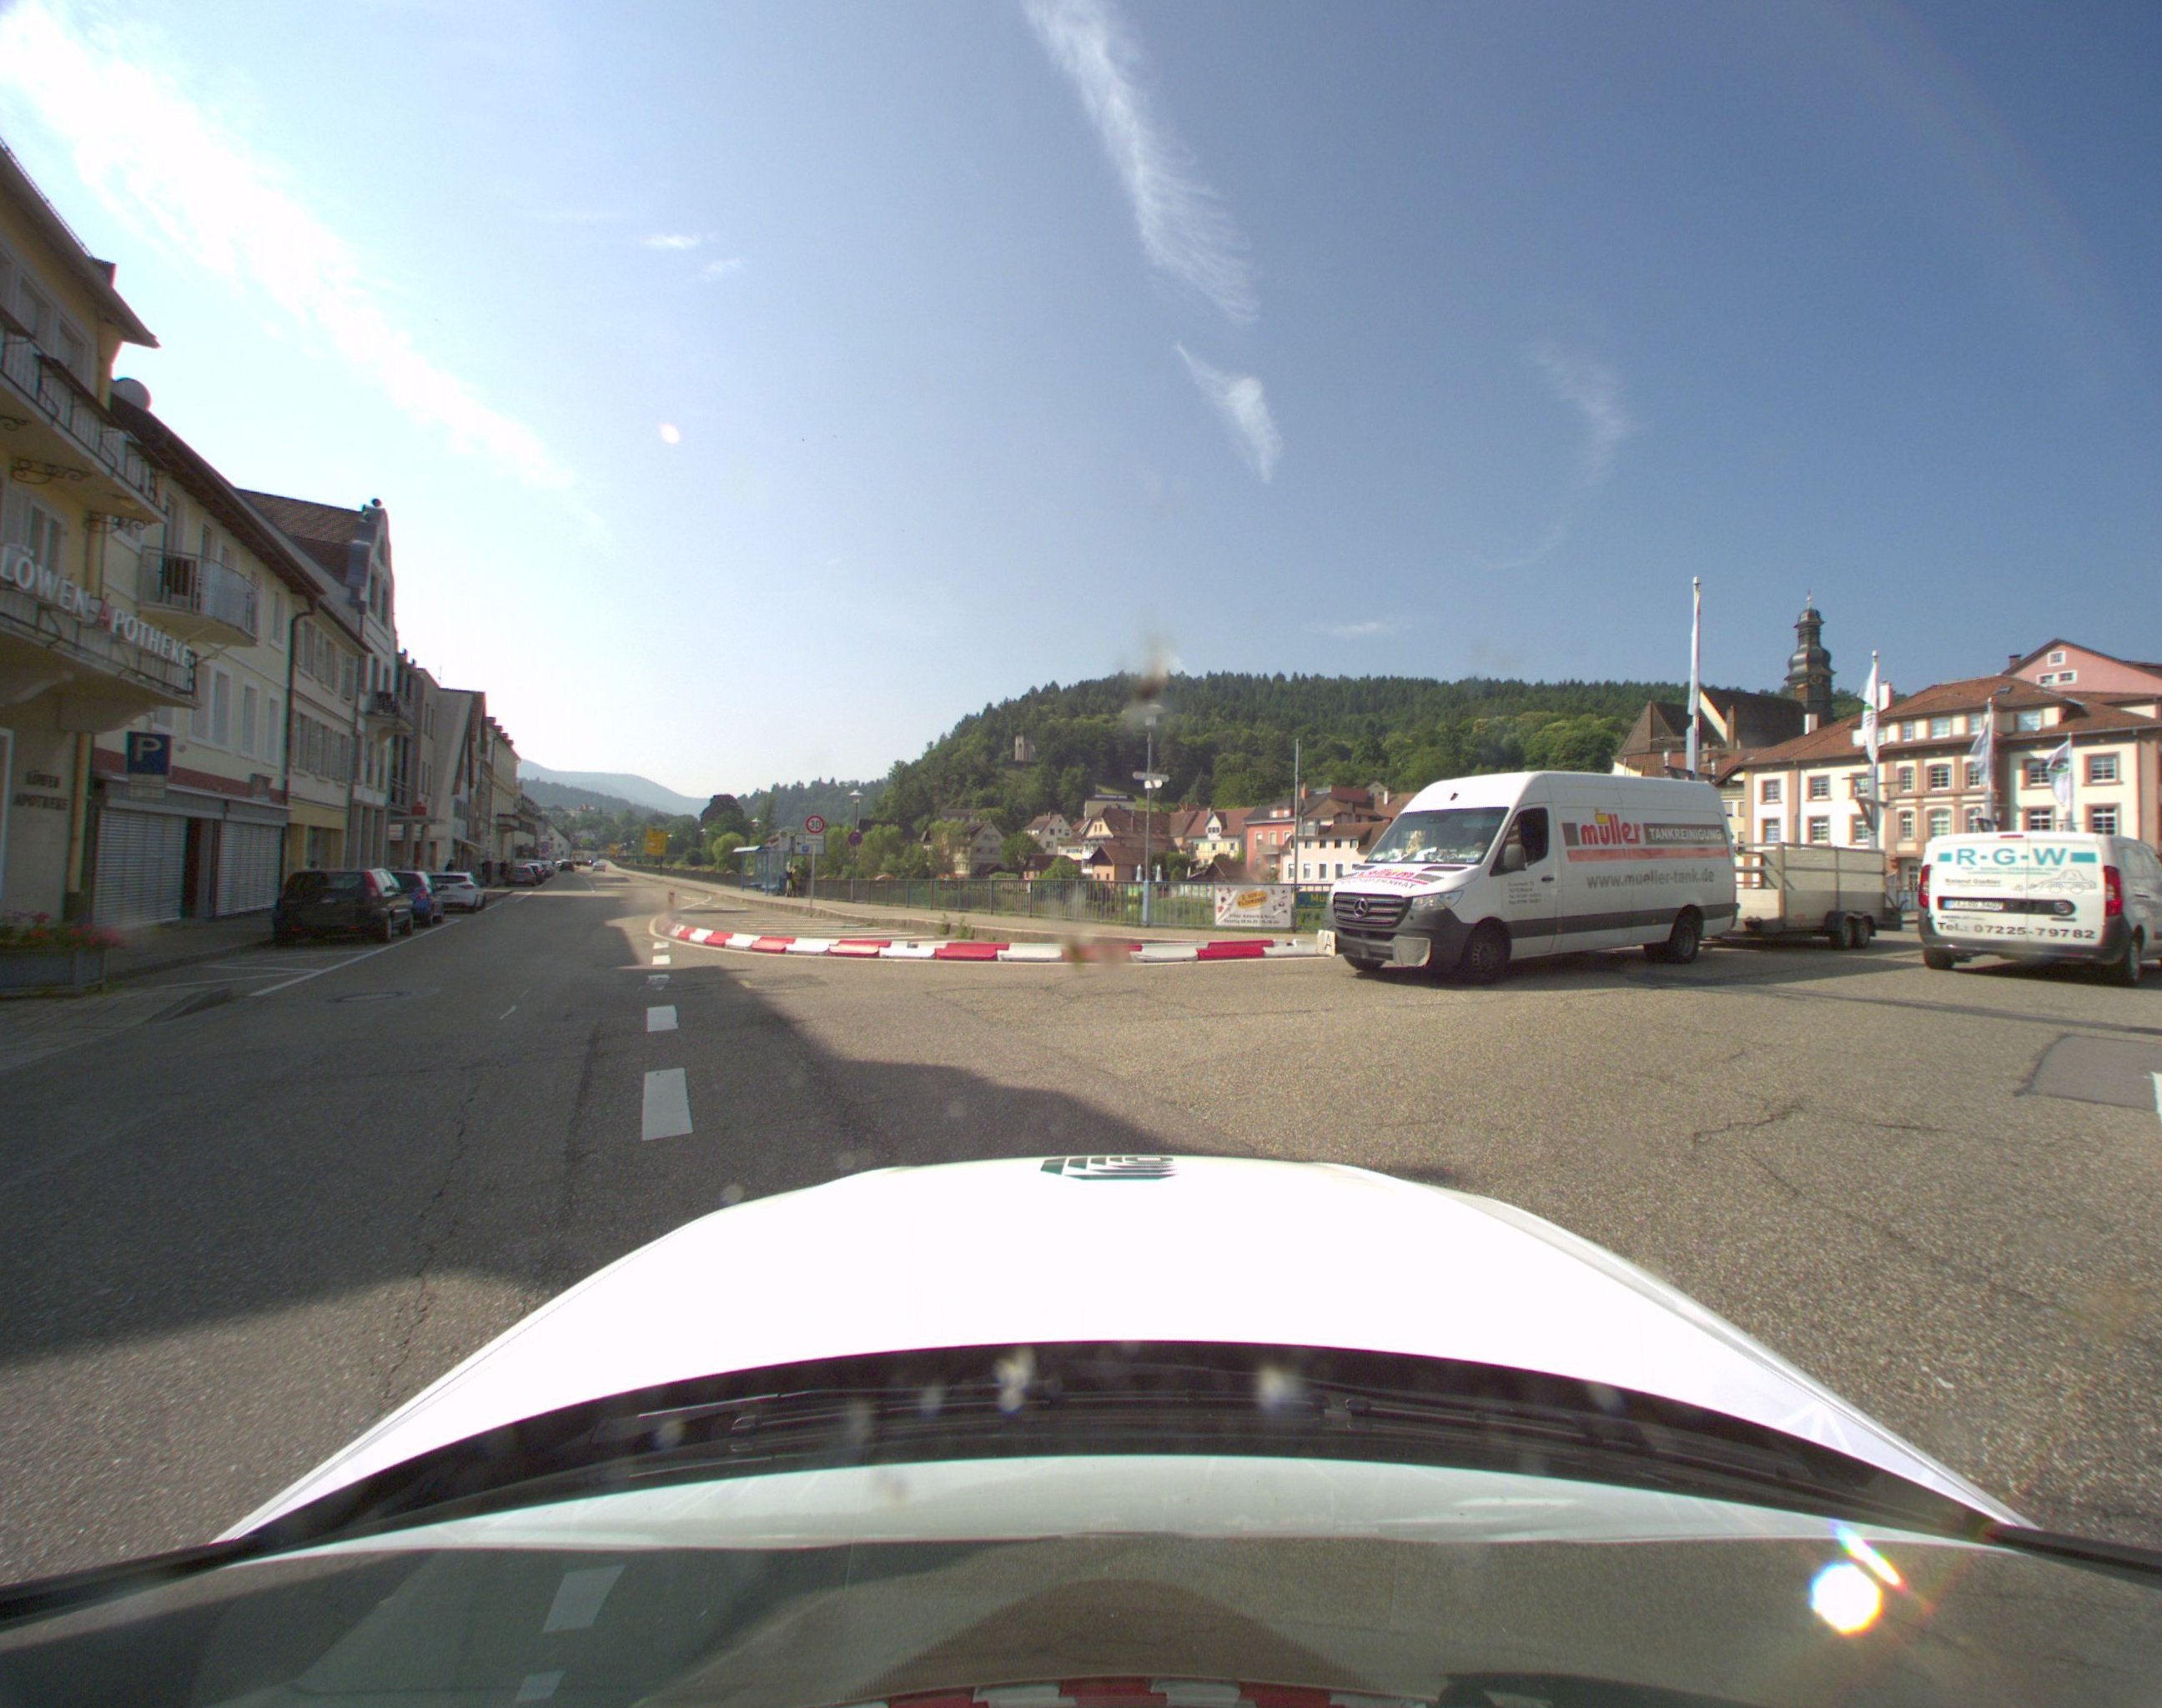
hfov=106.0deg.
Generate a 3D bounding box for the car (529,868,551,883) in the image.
[{"bbox_3d":[-55.344,2.201,83.303,1.759,1.448,3.243,1,-1,-32],"label":"car"}]

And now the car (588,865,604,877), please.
[{"bbox_3d":[-72.407,2.572,121.614,2.006,1.662,3.960,3,-2,-31],"label":"car"}]

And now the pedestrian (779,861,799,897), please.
[{"bbox_3d":[-14.095,1.220,39.310,0.794,1.706,0.487,2,-2,-30],"label":"pedestrian"}]

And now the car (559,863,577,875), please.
[{"bbox_3d":[-75.504,2.224,119.877,2.006,1.662,3.960,3,-2,-31],"label":"car"}]

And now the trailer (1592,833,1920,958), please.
[{"bbox_3d":[11.960,0.660,14.381,5.652,1.828,2.594,1,-1,-29],"label":"trailer"}]

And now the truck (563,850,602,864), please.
[{"bbox_3d":[-117.987,0.780,193.001,3.058,3.264,9.211,1,-1,3],"label":"truck"}]

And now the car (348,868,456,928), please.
[{"bbox_3d":[-17.914,1.111,21.633,1.759,1.448,3.243,1,-1,-32],"label":"car"}]

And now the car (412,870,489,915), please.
[{"bbox_3d":[-22.253,1.307,28.856,1.759,1.448,3.756,1,-1,-32],"label":"car"}]

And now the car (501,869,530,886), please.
[{"bbox_3d":[-40.759,1.677,58.735,1.574,1.220,3.243,1,-1,-32],"label":"car"}]

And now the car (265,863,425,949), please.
[{"bbox_3d":[-15.124,0.994,16.959,1.859,1.568,3.531,1,-1,-32],"label":"car"}]

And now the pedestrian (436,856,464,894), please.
[{"bbox_3d":[-28.477,0.951,36.757,0.687,1.696,0.659,1,-1,-4],"label":"pedestrian"}]

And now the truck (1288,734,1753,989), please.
[{"bbox_3d":[6.298,0.123,11.265,7.151,2.699,2.092,1,-1,-29],"label":"truck"}]

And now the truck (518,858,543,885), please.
[{"bbox_3d":[-52.582,1.671,77.835,1.759,2.468,4.613,2,-1,-32],"label":"truck"}]

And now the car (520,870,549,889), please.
[{"bbox_3d":[-43.182,2.025,64.398,1.759,1.448,3.243,1,-1,-32],"label":"car"}]

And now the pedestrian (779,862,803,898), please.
[{"bbox_3d":[-13.800,1.227,38.744,0.872,1.706,0.770,2,-2,-30],"label":"pedestrian"}]

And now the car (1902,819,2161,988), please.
[{"bbox_3d":[13.256,0.595,11.050,4.325,1.906,1.833,1,0,-28],"label":"car"}]
